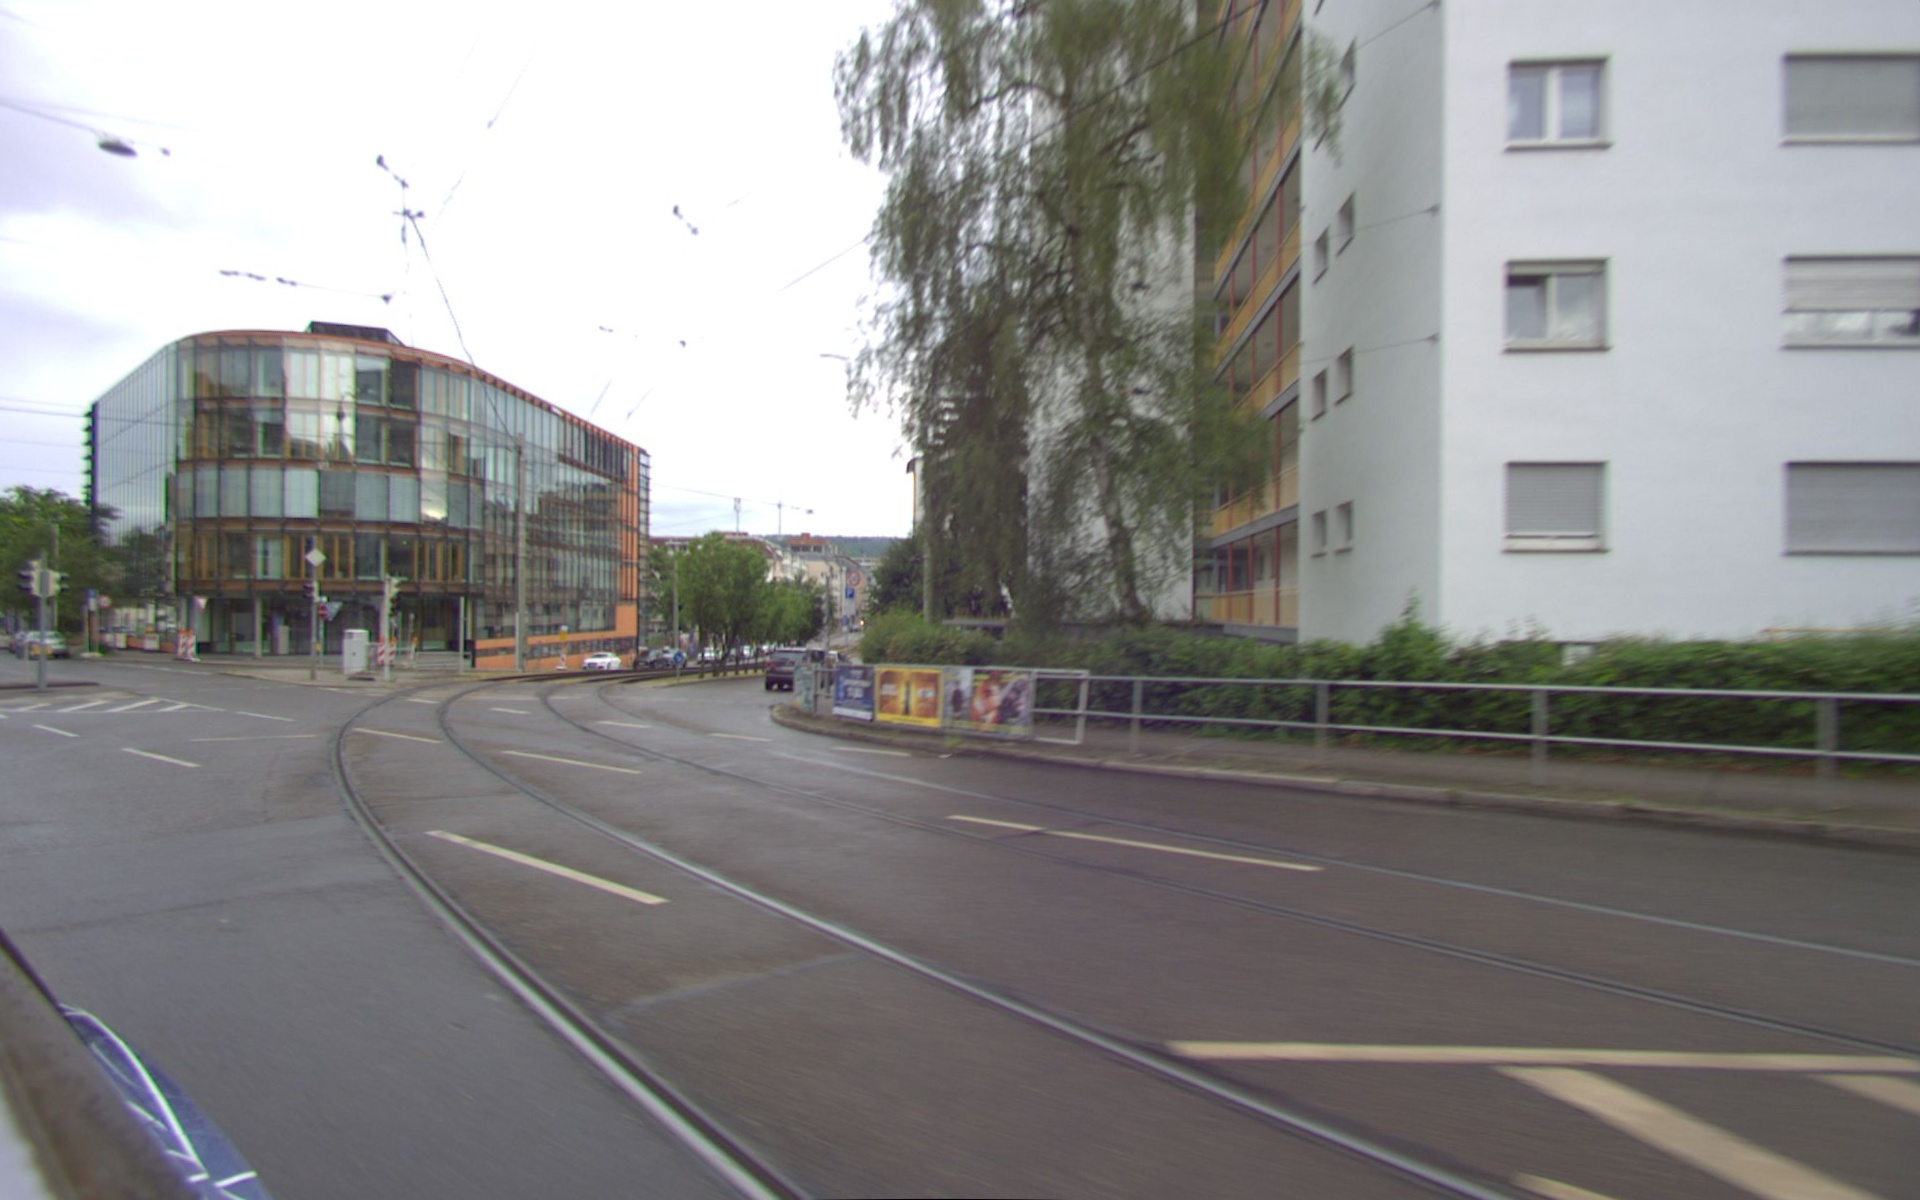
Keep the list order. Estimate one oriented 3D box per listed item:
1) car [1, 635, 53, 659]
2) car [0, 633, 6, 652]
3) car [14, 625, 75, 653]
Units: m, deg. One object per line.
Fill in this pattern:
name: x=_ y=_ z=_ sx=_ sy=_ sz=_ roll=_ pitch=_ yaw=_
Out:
car: x=-59.179 y=2.942 z=64.199 sx=4.324 sy=1.475 sz=1.706 roll=-2 pitch=-3 yaw=38
car: x=-77.441 y=3.378 z=80.421 sx=3.996 sy=1.408 sz=1.857 roll=0 pitch=0 yaw=39
car: x=-48.251 y=2.060 z=53.296 sx=4.642 sy=1.405 sz=1.838 roll=-2 pitch=-2 yaw=41
